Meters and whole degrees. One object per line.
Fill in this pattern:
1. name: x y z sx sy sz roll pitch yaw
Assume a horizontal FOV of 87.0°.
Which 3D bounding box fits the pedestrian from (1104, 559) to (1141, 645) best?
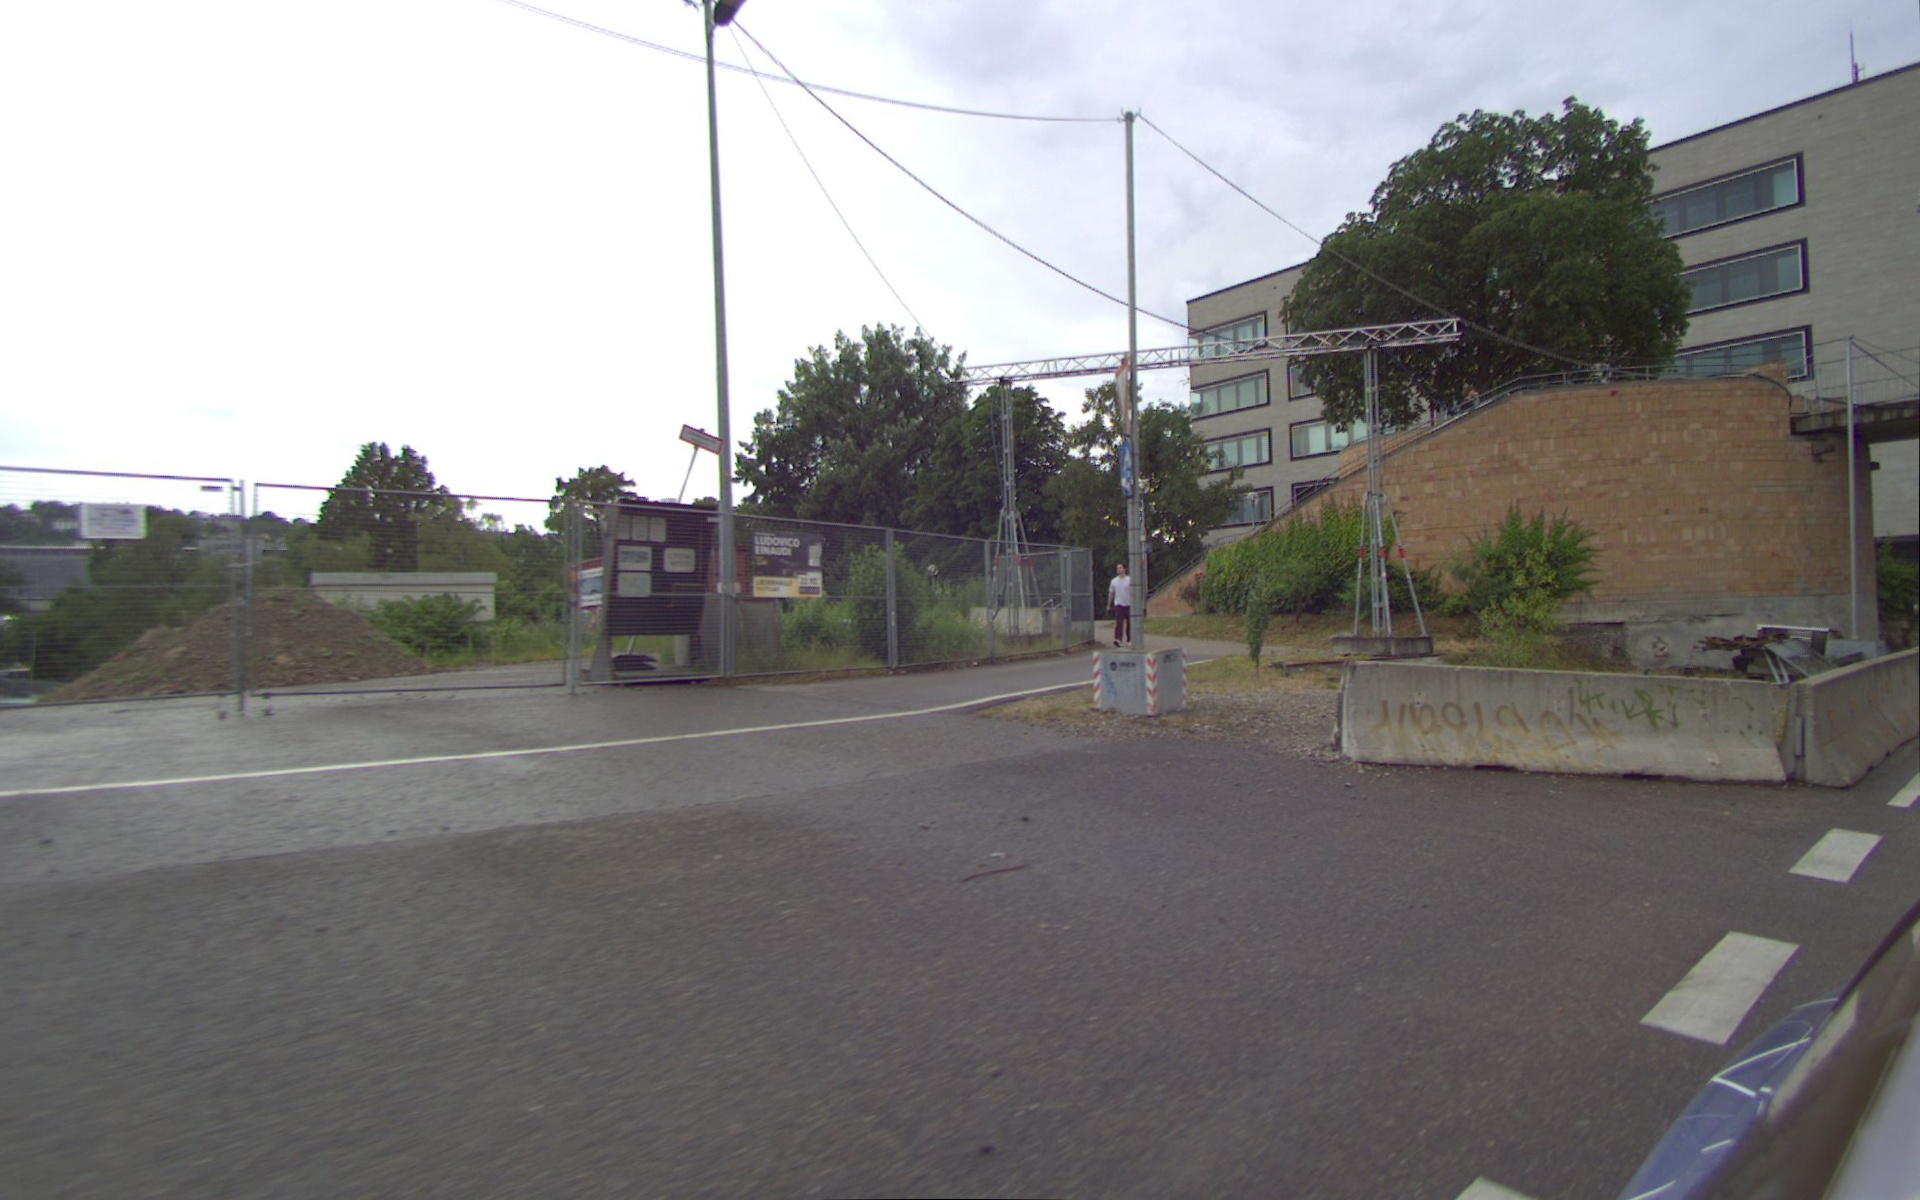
1. pedestrian: 3.500 0.046 21.842 0.680 1.801 0.814 -2 -1 7
